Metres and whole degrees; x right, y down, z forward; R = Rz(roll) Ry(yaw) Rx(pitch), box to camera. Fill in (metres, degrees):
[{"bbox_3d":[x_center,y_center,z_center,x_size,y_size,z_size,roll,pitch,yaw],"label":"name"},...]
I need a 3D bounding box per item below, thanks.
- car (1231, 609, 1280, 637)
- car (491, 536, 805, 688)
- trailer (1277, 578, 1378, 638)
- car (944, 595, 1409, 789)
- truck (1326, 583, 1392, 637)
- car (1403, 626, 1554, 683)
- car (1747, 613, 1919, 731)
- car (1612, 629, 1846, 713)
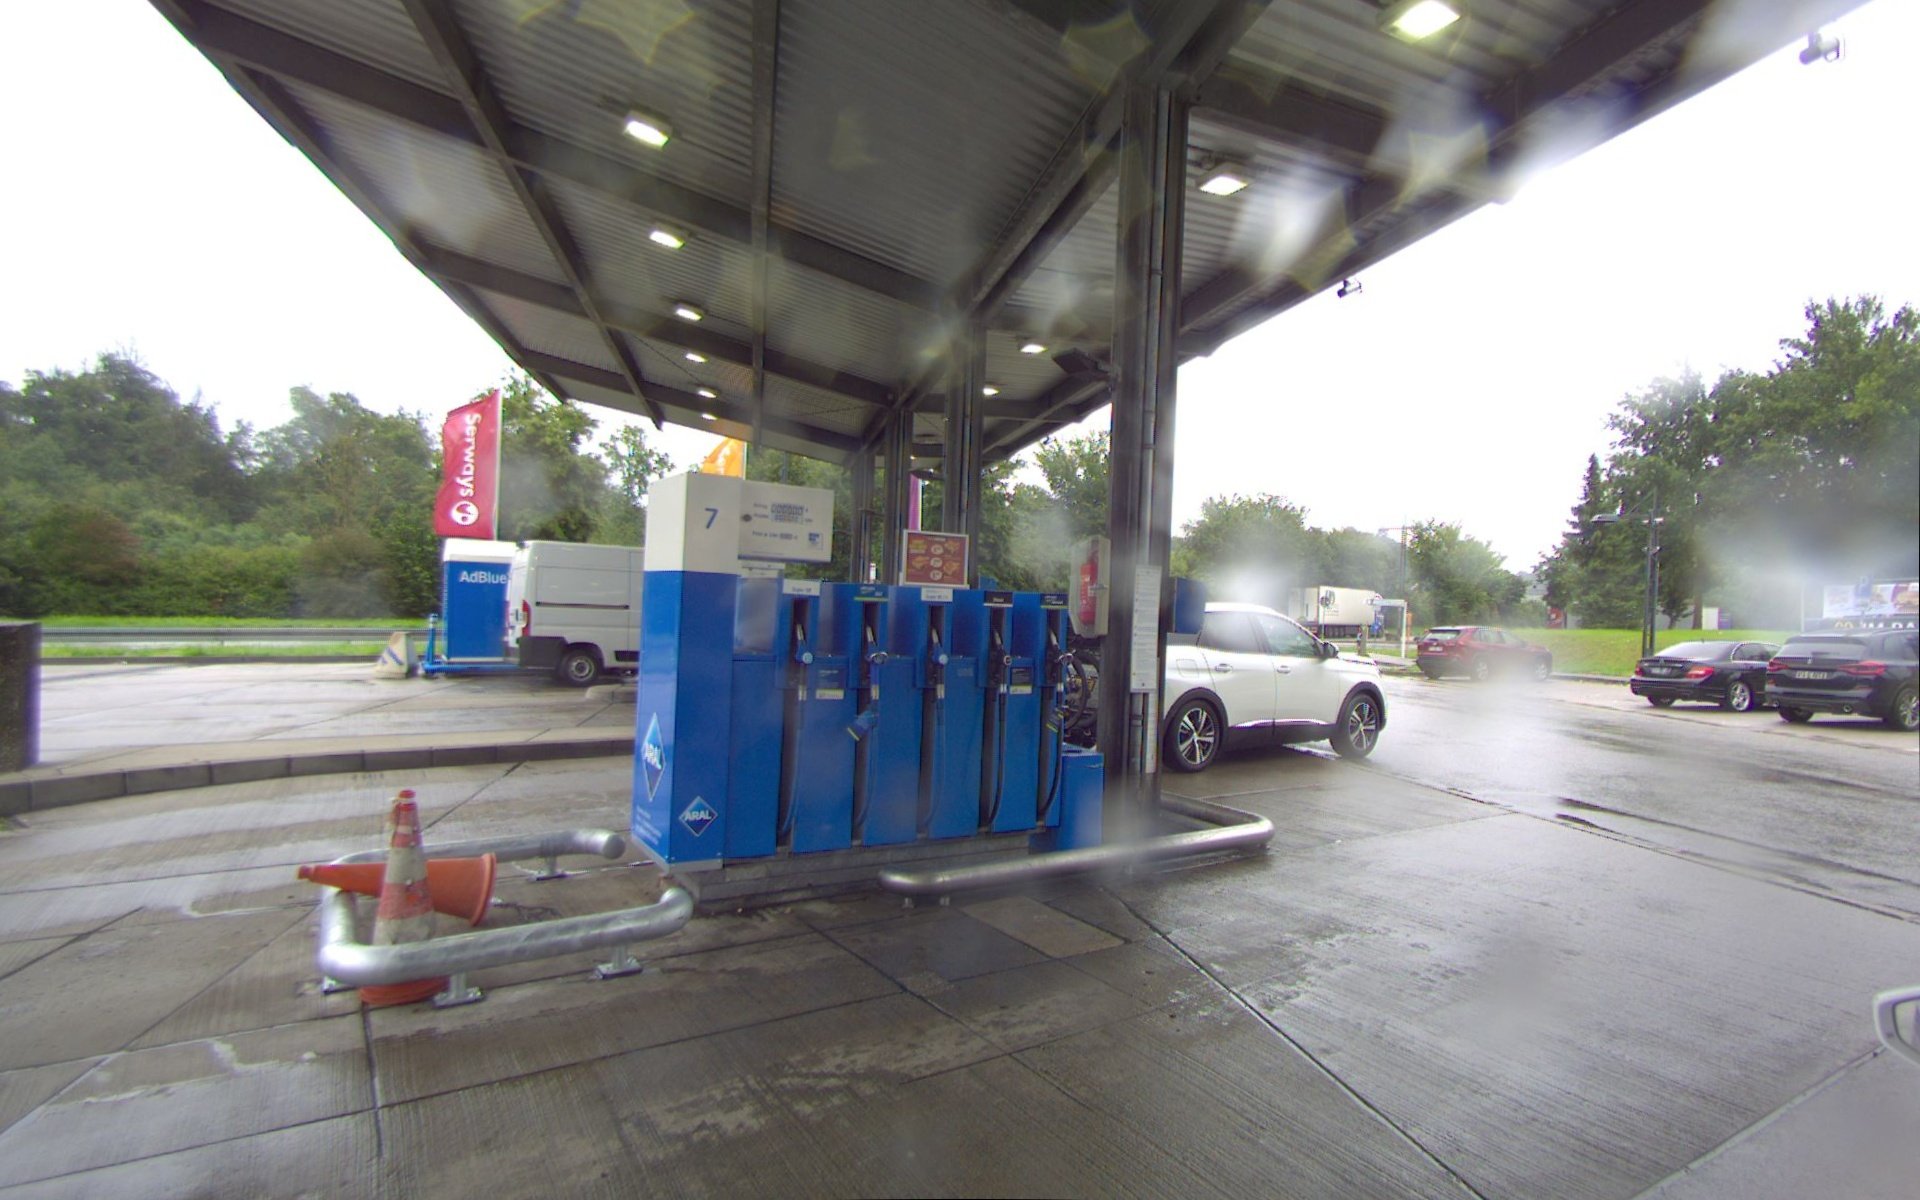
[{"bbox_3d":[20.861,1.626,70.802,1.903,1.862,4.373,1,0,38],"label":"car"},{"bbox_3d":[-5.803,0.267,18.973,5.227,2.496,2.306,1,-1,-34],"label":"car"},{"bbox_3d":[30.889,0.757,83.858,3.416,4.618,13.847,2,0,40],"label":"trailer"},{"bbox_3d":[2.396,0.806,10.419,4.953,1.586,1.802,1,0,-35],"label":"car"},{"bbox_3d":[35.561,0.928,89.462,3.416,4.618,6.704,2,0,40],"label":"truck"},{"bbox_3d":[15.983,1.648,30.970,4.294,1.617,1.879,1,-1,-24],"label":"car"},{"bbox_3d":[16.134,1.191,17.404,4.344,1.852,1.883,1,-1,-19],"label":"car"},{"bbox_3d":[15.921,1.420,20.824,4.119,1.585,1.883,1,-1,-19],"label":"car"}]
